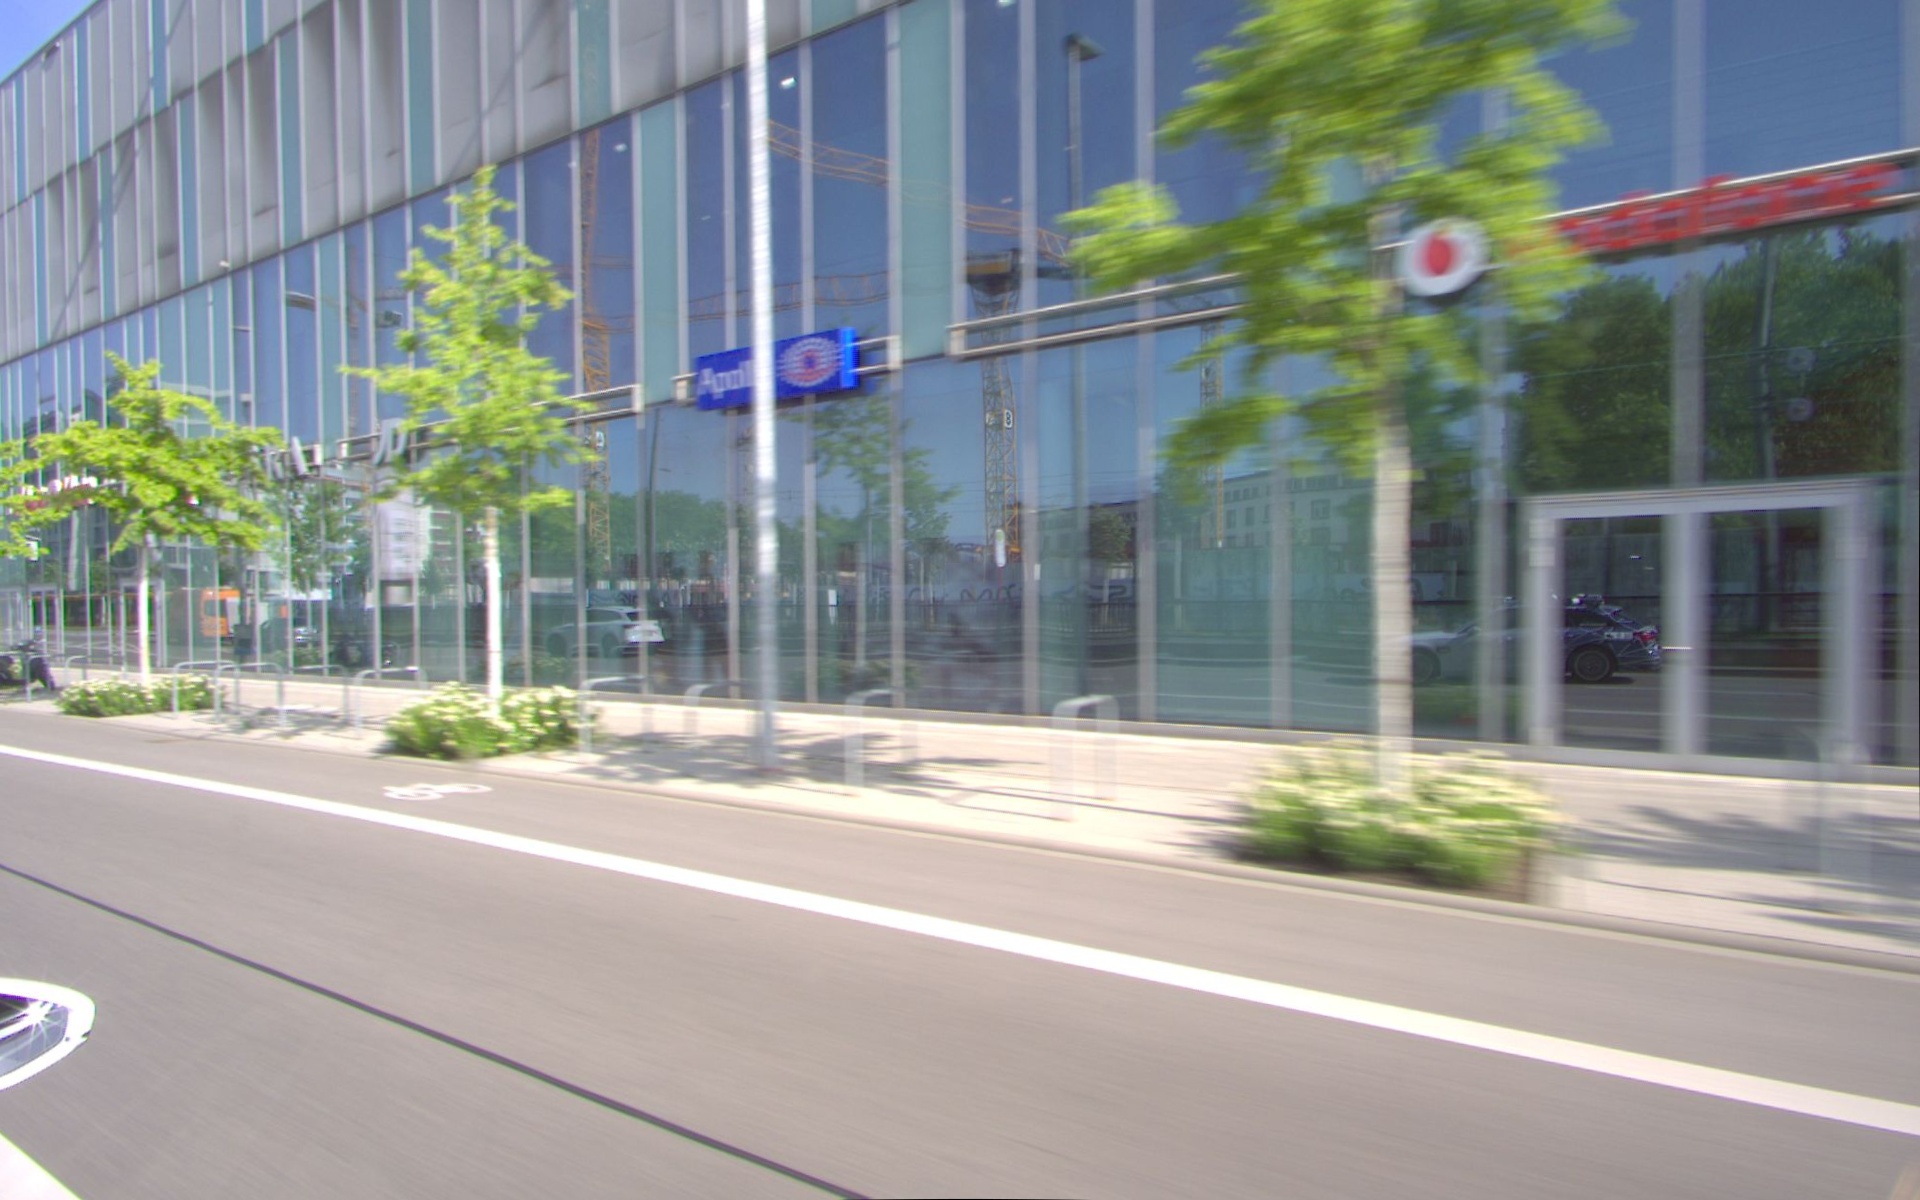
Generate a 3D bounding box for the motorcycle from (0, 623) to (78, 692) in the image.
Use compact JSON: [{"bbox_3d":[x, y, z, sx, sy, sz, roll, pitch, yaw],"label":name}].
[{"bbox_3d":[-19.805,1.183,20.861,0.852,1.367,1.970,0,0,21],"label":"motorcycle"}]
